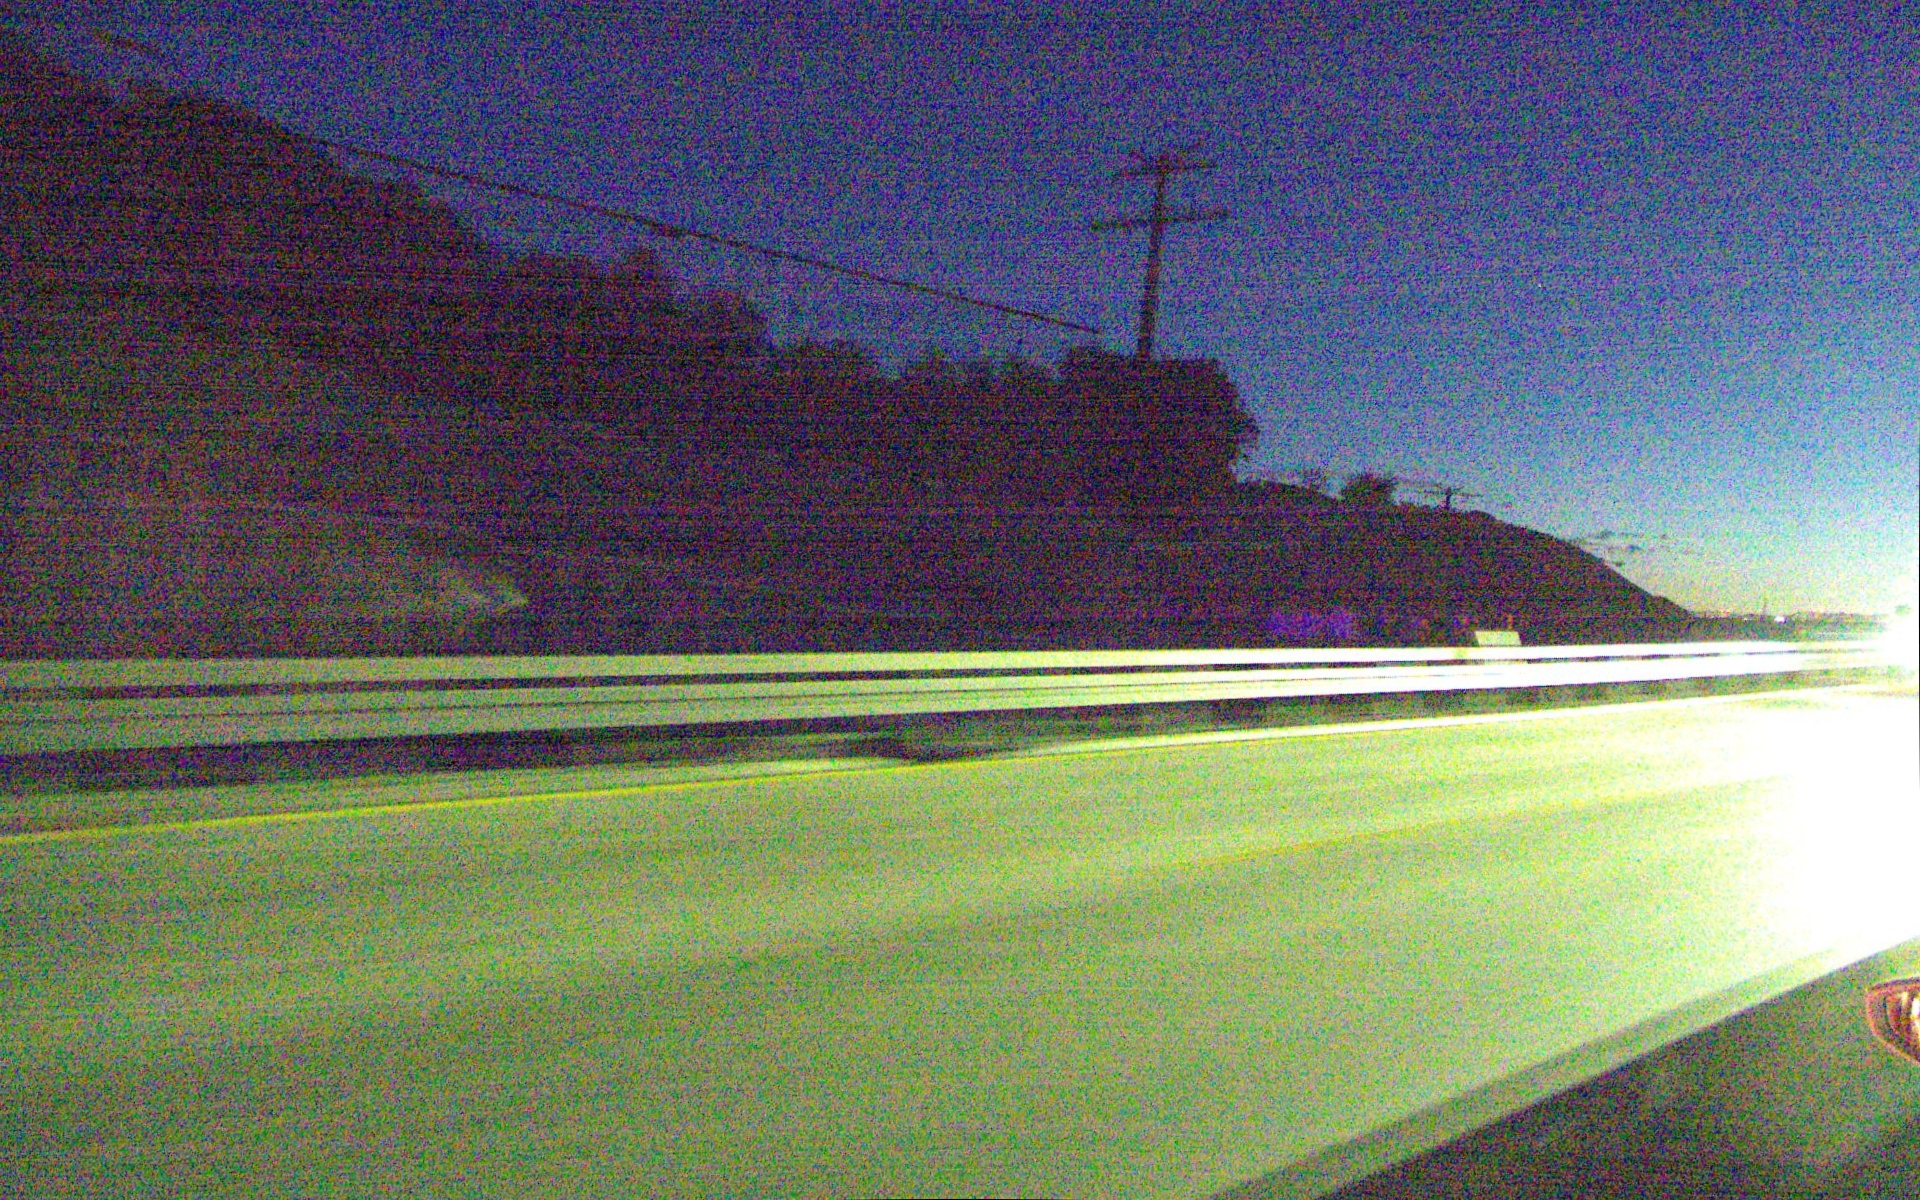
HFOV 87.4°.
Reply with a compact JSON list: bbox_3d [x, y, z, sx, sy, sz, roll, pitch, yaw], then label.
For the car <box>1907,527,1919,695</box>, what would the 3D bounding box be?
[{"bbox_3d":[21.643,0.324,19.972,7.307,3.146,2.471,2,-1,-33],"label":"car"}]
